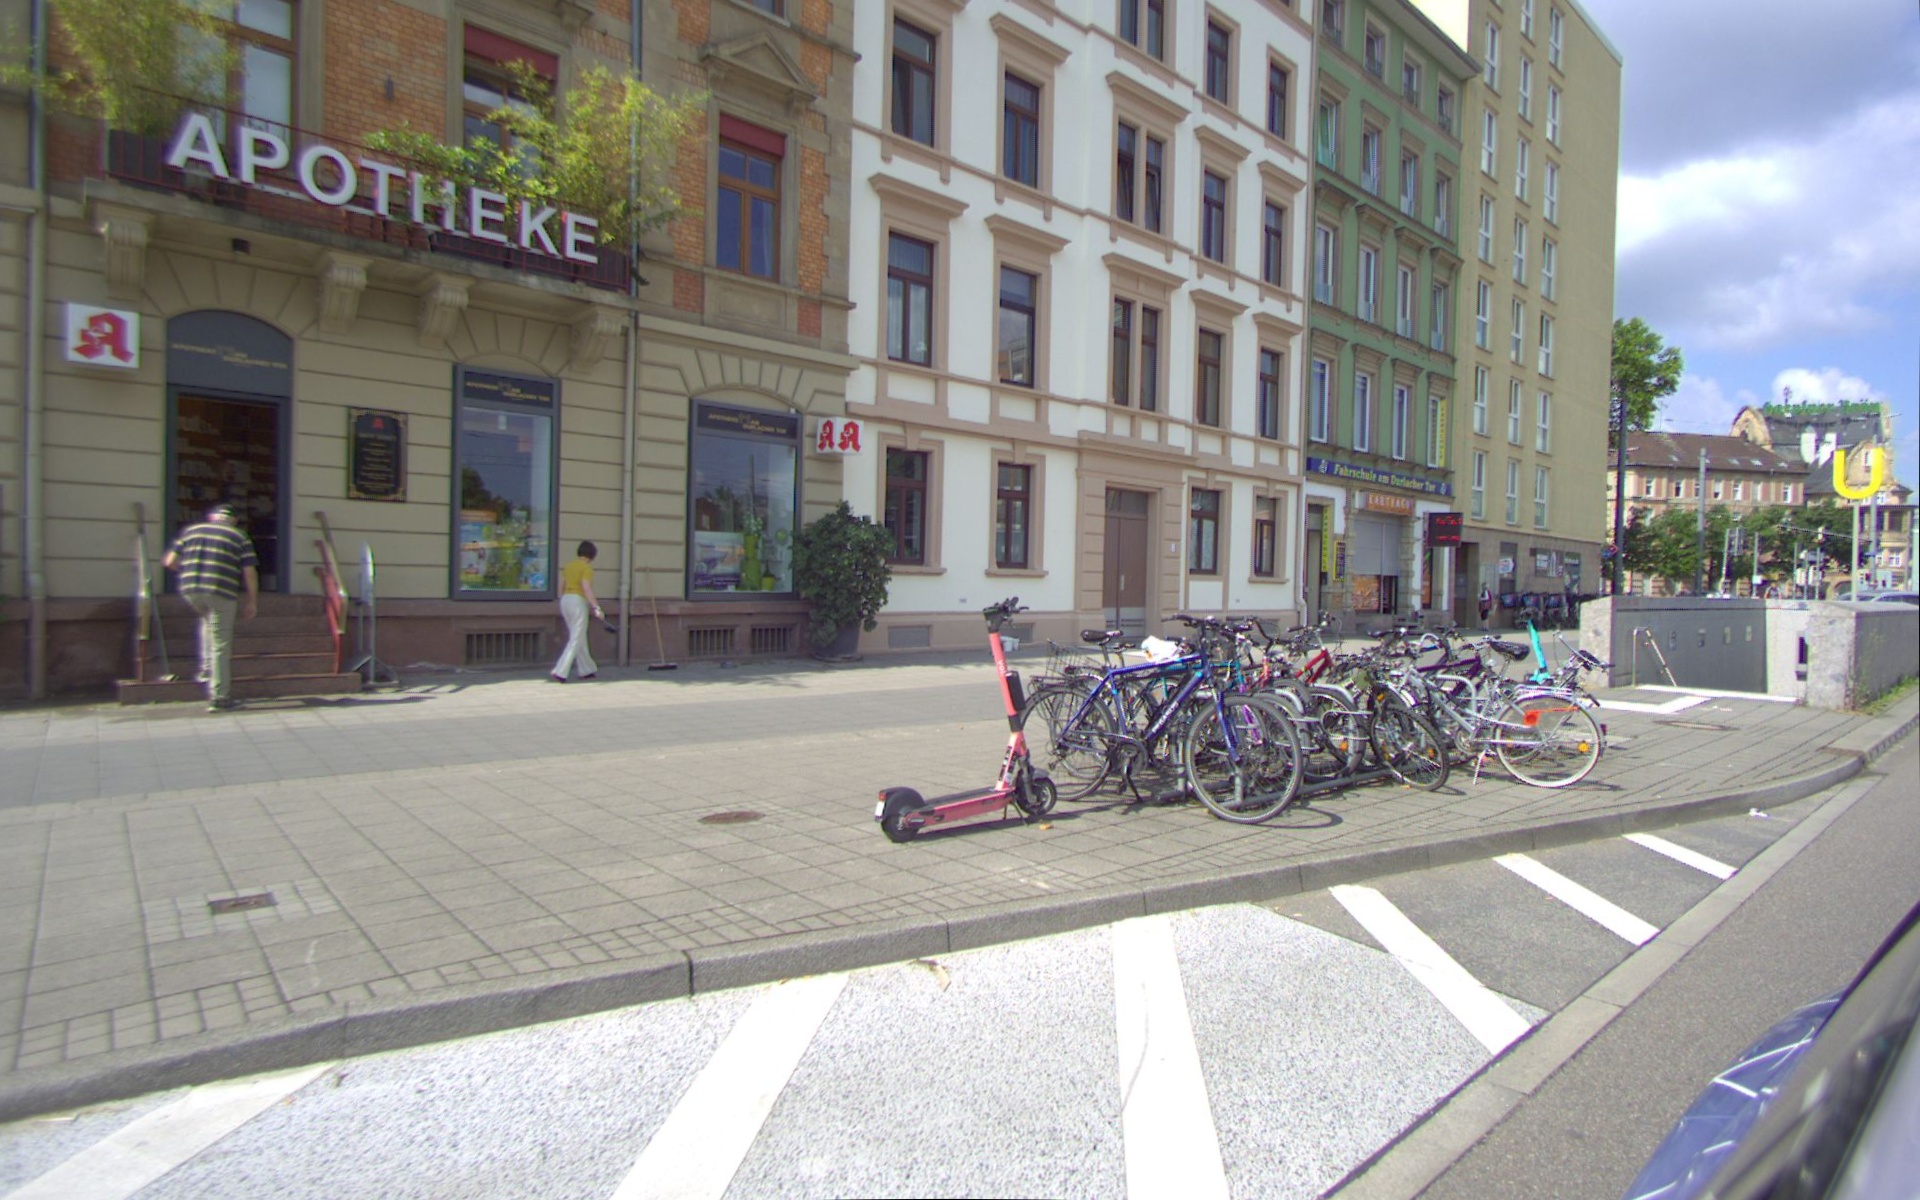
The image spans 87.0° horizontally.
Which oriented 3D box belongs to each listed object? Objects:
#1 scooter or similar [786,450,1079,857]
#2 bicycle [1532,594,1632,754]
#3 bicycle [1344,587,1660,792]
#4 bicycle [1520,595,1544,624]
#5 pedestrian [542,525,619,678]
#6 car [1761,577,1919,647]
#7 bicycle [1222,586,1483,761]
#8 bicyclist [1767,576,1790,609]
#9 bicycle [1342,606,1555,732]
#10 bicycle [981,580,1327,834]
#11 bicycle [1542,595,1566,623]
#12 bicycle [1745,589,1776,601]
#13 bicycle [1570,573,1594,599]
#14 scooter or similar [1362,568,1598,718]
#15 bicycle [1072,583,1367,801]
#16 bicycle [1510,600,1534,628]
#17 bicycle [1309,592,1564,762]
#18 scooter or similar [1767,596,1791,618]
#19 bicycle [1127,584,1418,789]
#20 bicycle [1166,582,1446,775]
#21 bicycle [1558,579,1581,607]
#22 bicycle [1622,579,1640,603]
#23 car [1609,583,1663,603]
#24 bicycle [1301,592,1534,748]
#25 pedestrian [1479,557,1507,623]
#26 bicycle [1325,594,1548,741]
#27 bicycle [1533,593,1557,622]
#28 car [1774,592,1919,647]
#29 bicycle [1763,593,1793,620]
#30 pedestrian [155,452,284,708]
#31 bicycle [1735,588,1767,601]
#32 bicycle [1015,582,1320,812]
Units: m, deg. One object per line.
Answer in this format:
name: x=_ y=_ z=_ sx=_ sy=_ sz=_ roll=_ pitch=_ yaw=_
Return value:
scooter or similar: x=-0.098 y=0.233 z=5.117 sx=1.509 sy=1.808 sz=0.398 roll=0 pitch=1 yaw=-38
bicycle: x=5.493 y=0.618 z=8.890 sx=0.439 sy=1.253 sz=1.902 roll=2 pitch=-1 yaw=40
bicycle: x=3.810 y=0.571 z=7.231 sx=1.920 sy=1.253 sz=0.435 roll=3 pitch=-1 yaw=37
bicycle: x=19.329 y=0.328 z=34.189 sx=1.440 sy=0.934 sz=0.292 roll=2 pitch=0 yaw=-44
pedestrian: x=-4.407 y=0.016 z=11.757 sx=0.601 sy=1.719 sz=0.579 roll=3 pitch=-1 yaw=-41
car: x=23.848 y=0.294 z=26.099 sx=4.517 sy=1.667 sz=2.058 roll=1 pitch=1 yaw=7
bicycle: x=3.183 y=0.548 z=8.324 sx=1.919 sy=1.253 sz=0.435 roll=3 pitch=-1 yaw=36
bicyclist: x=36.929 y=-0.353 z=45.659 sx=0.730 sy=1.455 sz=0.655 roll=0 pitch=1 yaw=-41
bicycle: x=4.936 y=0.661 z=10.361 sx=0.433 sy=1.117 sz=1.929 roll=3 pitch=0 yaw=-39
bicycle: x=1.068 y=0.540 z=5.954 sx=1.975 sy=1.253 sz=0.435 roll=3 pitch=-1 yaw=38
bicycle: x=21.184 y=0.315 z=36.072 sx=1.438 sy=0.934 sz=0.293 roll=3 pitch=-1 yaw=-41
bicycle: x=81.043 y=-0.530 z=102.458 sx=0.746 sy=1.180 sz=2.689 roll=3 pitch=0 yaw=-8
bicycle: x=22.580 y=-0.508 z=36.721 sx=1.439 sy=0.934 sz=0.293 roll=0 pitch=1 yaw=-41
scooter or similar: x=5.914 y=0.430 z=11.675 sx=0.684 sy=1.565 sz=2.332 roll=3 pitch=0 yaw=-35
bicycle: x=1.682 y=0.541 z=6.835 sx=1.924 sy=1.253 sz=0.434 roll=2 pitch=-1 yaw=44
bicycle: x=19.111 y=0.477 z=34.426 sx=1.440 sy=0.934 sz=0.292 roll=1 pitch=0 yaw=-44
bicycle: x=3.980 y=0.587 z=8.610 sx=0.433 sy=1.253 sz=1.929 roll=3 pitch=0 yaw=-39
scooter or similar: x=47.437 y=0.389 z=58.611 sx=1.045 sy=1.212 sz=0.381 roll=3 pitch=-1 yaw=2
bicycle: x=2.169 y=0.550 z=7.225 sx=1.921 sy=1.253 sz=0.435 roll=2 pitch=-1 yaw=39
bicycle: x=2.544 y=0.527 z=7.616 sx=1.921 sy=1.253 sz=0.435 roll=2 pitch=-1 yaw=39
bicycle: x=21.412 y=-0.249 z=35.546 sx=1.440 sy=0.934 sz=0.292 roll=2 pitch=0 yaw=-44
bicycle: x=26.401 y=-0.358 z=39.801 sx=1.440 sy=0.894 sz=0.292 roll=-1 pitch=2 yaw=-44
car: x=54.781 y=-0.542 z=82.086 sx=1.657 sy=1.488 sz=3.659 roll=3 pitch=0 yaw=-5
bicycle: x=4.128 y=0.584 z=9.288 sx=0.433 sy=1.253 sz=1.929 roll=3 pitch=0 yaw=-39
pedestrian: x=16.790 y=-0.314 z=31.895 sx=0.452 sy=2.039 sz=0.602 roll=3 pitch=-1 yaw=-41
bicycle: x=4.555 y=0.596 z=9.812 sx=0.433 sy=1.253 sz=1.929 roll=3 pitch=0 yaw=-39
bicycle: x=19.485 y=0.243 z=33.712 sx=1.440 sy=0.934 sz=0.292 roll=1 pitch=0 yaw=-44
car: x=26.059 y=0.541 z=28.430 sx=4.524 sy=1.479 sz=1.933 roll=-1 pitch=-1 yaw=9
bicycle: x=36.891 y=0.285 z=45.649 sx=2.291 sy=1.134 sz=0.663 roll=0 pitch=2 yaw=-42
pedestrian: x=-6.515 y=-0.163 z=8.899 sx=0.772 sy=2.126 sz=0.722 roll=3 pitch=-1 yaw=-41
bicycle: x=79.937 y=-0.545 z=102.293 sx=0.745 sy=1.180 sz=2.689 roll=1 pitch=2 yaw=-8
bicycle: x=1.267 y=0.544 z=6.522 sx=1.923 sy=1.253 sz=0.434 roll=2 pitch=-1 yaw=41
